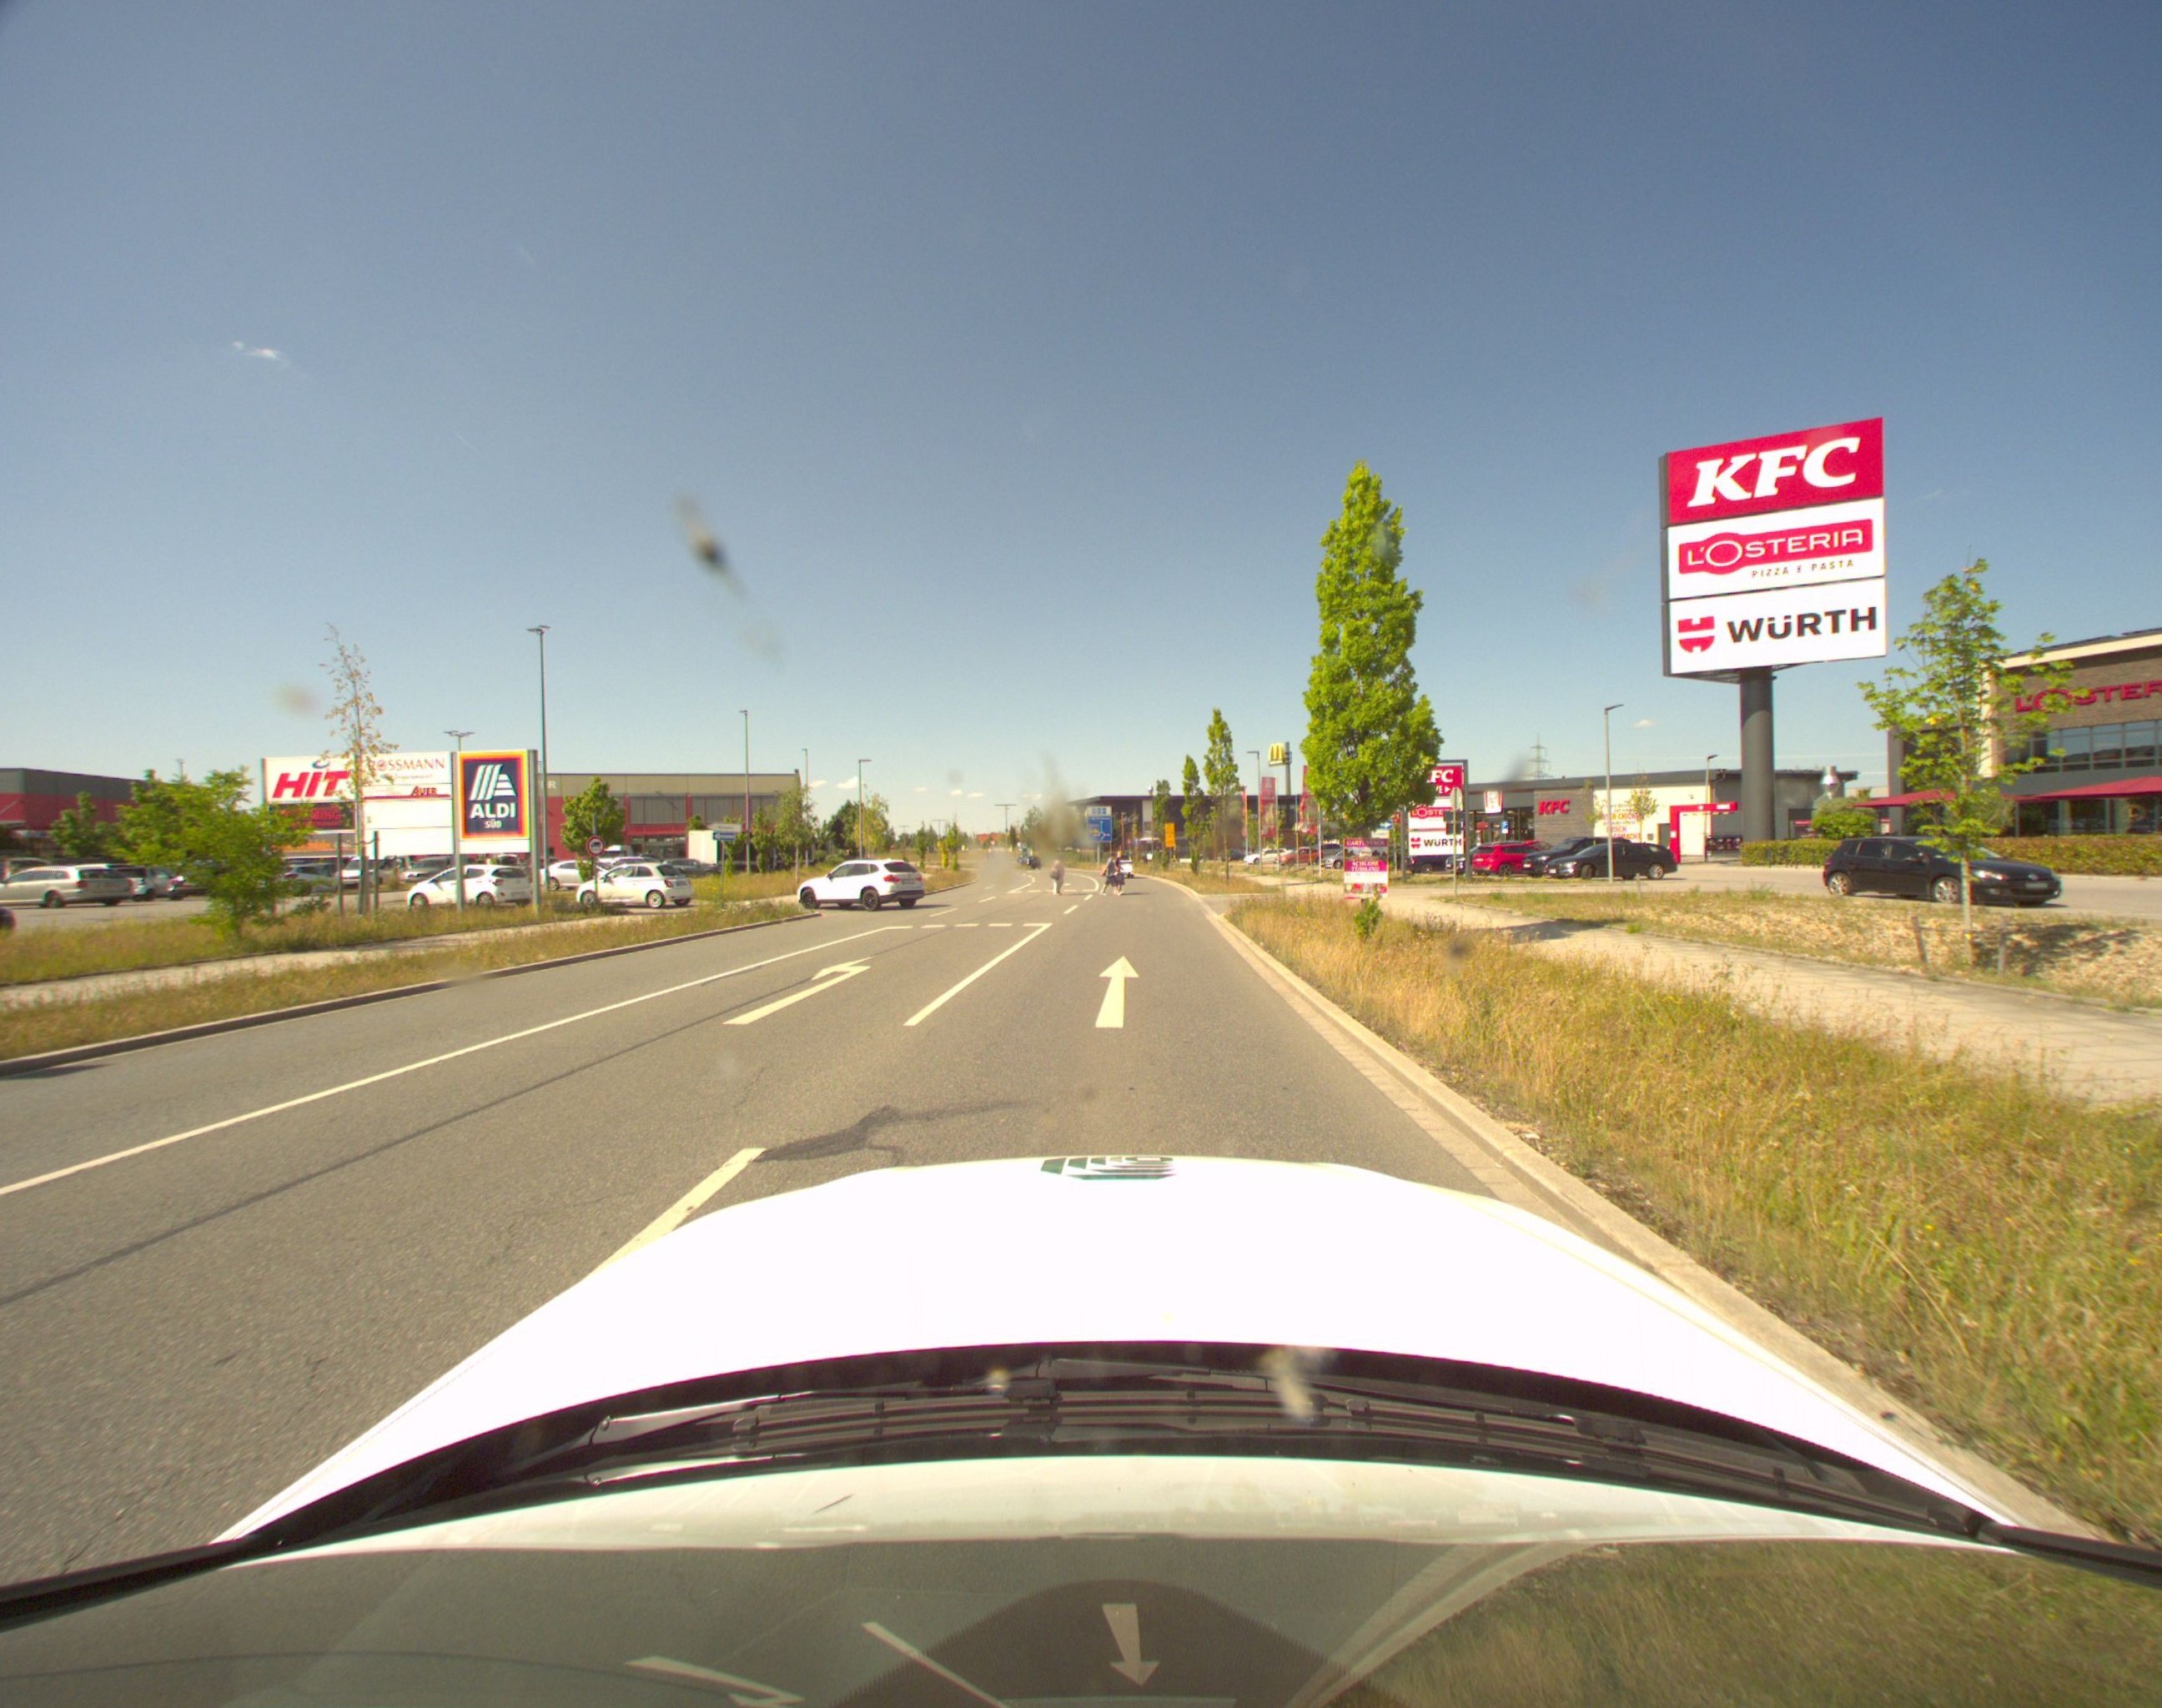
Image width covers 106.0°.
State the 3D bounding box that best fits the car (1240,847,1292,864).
[{"bbox_3d":[17.842,0.129,78.719,4.529,1.490,1.861,-2,1,-12],"label":"car"}]

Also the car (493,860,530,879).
[{"bbox_3d":[-50.549,1.325,72.366,1.667,1.615,4.055,-1,0,-20],"label":"car"}]

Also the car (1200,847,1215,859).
[{"bbox_3d":[17.606,-0.095,113.229,1.781,1.604,4.013,-2,0,12],"label":"car"}]

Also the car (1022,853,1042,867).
[{"bbox_3d":[-5.462,0.682,90.410,1.618,1.434,3.776,-1,0,-13],"label":"car"}]

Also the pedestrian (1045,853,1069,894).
[{"bbox_3d":[-0.868,0.704,30.130,0.789,1.470,0.949,-1,0,2],"label":"pedestrian"}]

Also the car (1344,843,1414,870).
[{"bbox_3d":[20.753,0.143,56.850,4.146,1.665,1.866,-2,1,-5],"label":"car"}]

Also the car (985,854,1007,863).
[{"bbox_3d":[-14.856,0.792,142.416,1.976,1.440,4.022,-1,1,23],"label":"car"}]

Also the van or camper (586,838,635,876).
[{"bbox_3d":[-43.370,0.296,75.267,2.437,3.271,7.190,-1,0,-19],"label":"van or camper"}]

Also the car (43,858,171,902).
[{"bbox_3d":[-48.579,1.254,40.789,1.836,2.024,4.606,-1,0,-17],"label":"car"}]

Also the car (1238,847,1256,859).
[{"bbox_3d":[23.539,-0.154,115.242,1.777,1.513,4.021,-2,0,21],"label":"car"}]

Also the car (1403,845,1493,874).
[{"bbox_3d":[20.846,0.287,46.433,4.375,1.449,1.798,-2,1,13],"label":"car"}]

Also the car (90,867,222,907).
[{"bbox_3d":[-41.592,1.420,36.782,1.916,1.617,4.356,-1,0,-17],"label":"car"}]

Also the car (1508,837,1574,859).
[{"bbox_3d":[35.348,-0.461,62.582,4.570,1.431,1.857,-3,1,-20],"label":"car"}]

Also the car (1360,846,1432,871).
[{"bbox_3d":[21.083,0.267,54.496,4.155,1.449,1.785,-2,1,-11],"label":"car"}]

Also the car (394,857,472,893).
[{"bbox_3d":[-35.215,1.112,44.395,1.836,1.823,4.356,-1,0,-17],"label":"car"}]

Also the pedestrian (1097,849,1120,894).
[{"bbox_3d":[1.027,0.648,29.954,0.806,1.628,0.867,-1,0,2],"label":"pedestrian"}]

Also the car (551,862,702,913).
[{"bbox_3d":[-15.182,1.110,27.326,3.968,1.547,1.920,-1,0,4],"label":"car"}]

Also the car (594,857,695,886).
[{"bbox_3d":[-24.275,0.978,45.383,4.566,1.458,1.836,-1,0,-4],"label":"car"}]

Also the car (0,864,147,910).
[{"bbox_3d":[-37.356,1.198,30.010,3.967,1.547,1.843,-1,0,6],"label":"car"}]

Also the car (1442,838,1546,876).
[{"bbox_3d":[21.068,0.152,41.680,4.393,1.734,1.791,-2,1,-1],"label":"car"}]

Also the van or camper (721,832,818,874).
[{"bbox_3d":[-27.467,-0.073,72.174,7.702,3.468,2.544,-1,0,-14],"label":"van or camper"}]

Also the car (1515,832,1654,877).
[{"bbox_3d":[22.111,0.013,35.857,4.971,1.734,1.937,-2,1,-3],"label":"car"}]

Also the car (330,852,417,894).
[{"bbox_3d":[-37.647,0.985,43.474,1.836,2.065,4.356,-1,0,-17],"label":"car"}]

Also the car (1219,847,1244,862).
[{"bbox_3d":[16.488,0.052,89.119,1.682,1.462,4.193,-2,0,24],"label":"car"}]

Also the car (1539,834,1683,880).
[{"bbox_3d":[20.616,0.110,31.789,4.396,1.566,1.993,-2,1,-3],"label":"car"}]

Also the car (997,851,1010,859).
[{"bbox_3d":[-15.206,0.278,159.697,1.985,1.464,4.004,-2,0,3],"label":"car"}]

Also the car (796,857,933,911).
[{"bbox_3d":[-6.934,0.924,25.951,4.171,1.547,1.930,-1,0,34],"label":"car"}]

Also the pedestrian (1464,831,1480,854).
[{"bbox_3d":[34.920,-1.018,72.795,0.915,2.013,0.886,-1,0,-15],"label":"pedestrian"}]

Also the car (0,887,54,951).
[{"bbox_3d":[-25.323,1.478,17.476,4.128,1.348,1.937,-2,0,2],"label":"car"}]

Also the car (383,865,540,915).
[{"bbox_3d":[-21.110,1.207,27.855,3.968,1.547,1.920,-1,0,4],"label":"car"}]

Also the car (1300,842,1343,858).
[{"bbox_3d":[25.845,-0.409,87.583,4.169,1.635,1.779,-2,0,-20],"label":"car"}]

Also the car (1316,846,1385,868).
[{"bbox_3d":[20.335,0.194,61.472,4.553,1.490,1.864,-2,1,-8],"label":"car"}]

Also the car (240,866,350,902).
[{"bbox_3d":[-36.144,1.330,37.605,1.836,1.512,4.356,-1,0,-17],"label":"car"}]

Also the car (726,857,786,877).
[{"bbox_3d":[-27.022,1.059,67.844,4.374,1.552,1.829,-1,0,-15],"label":"car"}]

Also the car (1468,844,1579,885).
[{"bbox_3d":[21.153,0.467,39.004,4.400,1.734,1.787,-2,1,-6],"label":"car"}]

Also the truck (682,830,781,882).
[{"bbox_3d":[-25.217,0.133,59.196,2.299,3.464,7.525,-1,0,15],"label":"truck"}]

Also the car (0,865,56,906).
[{"bbox_3d":[-46.713,1.363,34.674,1.919,1.726,4.348,-1,0,-23],"label":"car"}]

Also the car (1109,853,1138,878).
[{"bbox_3d":[2.642,0.698,51.412,1.611,1.434,3.791,-1,0,0],"label":"car"}]

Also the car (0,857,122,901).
[{"bbox_3d":[-44.137,1.040,35.218,1.922,1.718,4.342,-1,0,-27],"label":"car"}]

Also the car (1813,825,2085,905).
[{"bbox_3d":[19.067,0.211,18.217,1.772,1.540,4.173,-1,0,3],"label":"car"}]

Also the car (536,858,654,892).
[{"bbox_3d":[-23.853,1.017,40.126,4.597,1.512,1.835,-1,0,-4],"label":"car"}]

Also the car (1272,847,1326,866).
[{"bbox_3d":[19.061,0.169,71.322,4.207,1.490,1.861,-2,1,-12],"label":"car"}]

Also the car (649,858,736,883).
[{"bbox_3d":[-24.096,1.002,50.610,4.414,1.383,1.973,-1,0,-4],"label":"car"}]

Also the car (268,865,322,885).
[{"bbox_3d":[-64.960,1.707,67.357,1.666,1.577,4.056,-1,0,-20],"label":"car"}]

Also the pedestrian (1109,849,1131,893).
[{"bbox_3d":[1.466,0.634,30.516,0.798,1.629,0.805,-1,0,2],"label":"pedestrian"}]

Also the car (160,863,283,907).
[{"bbox_3d":[-38.948,1.363,37.065,1.916,1.803,4.356,-1,0,-17],"label":"car"}]
